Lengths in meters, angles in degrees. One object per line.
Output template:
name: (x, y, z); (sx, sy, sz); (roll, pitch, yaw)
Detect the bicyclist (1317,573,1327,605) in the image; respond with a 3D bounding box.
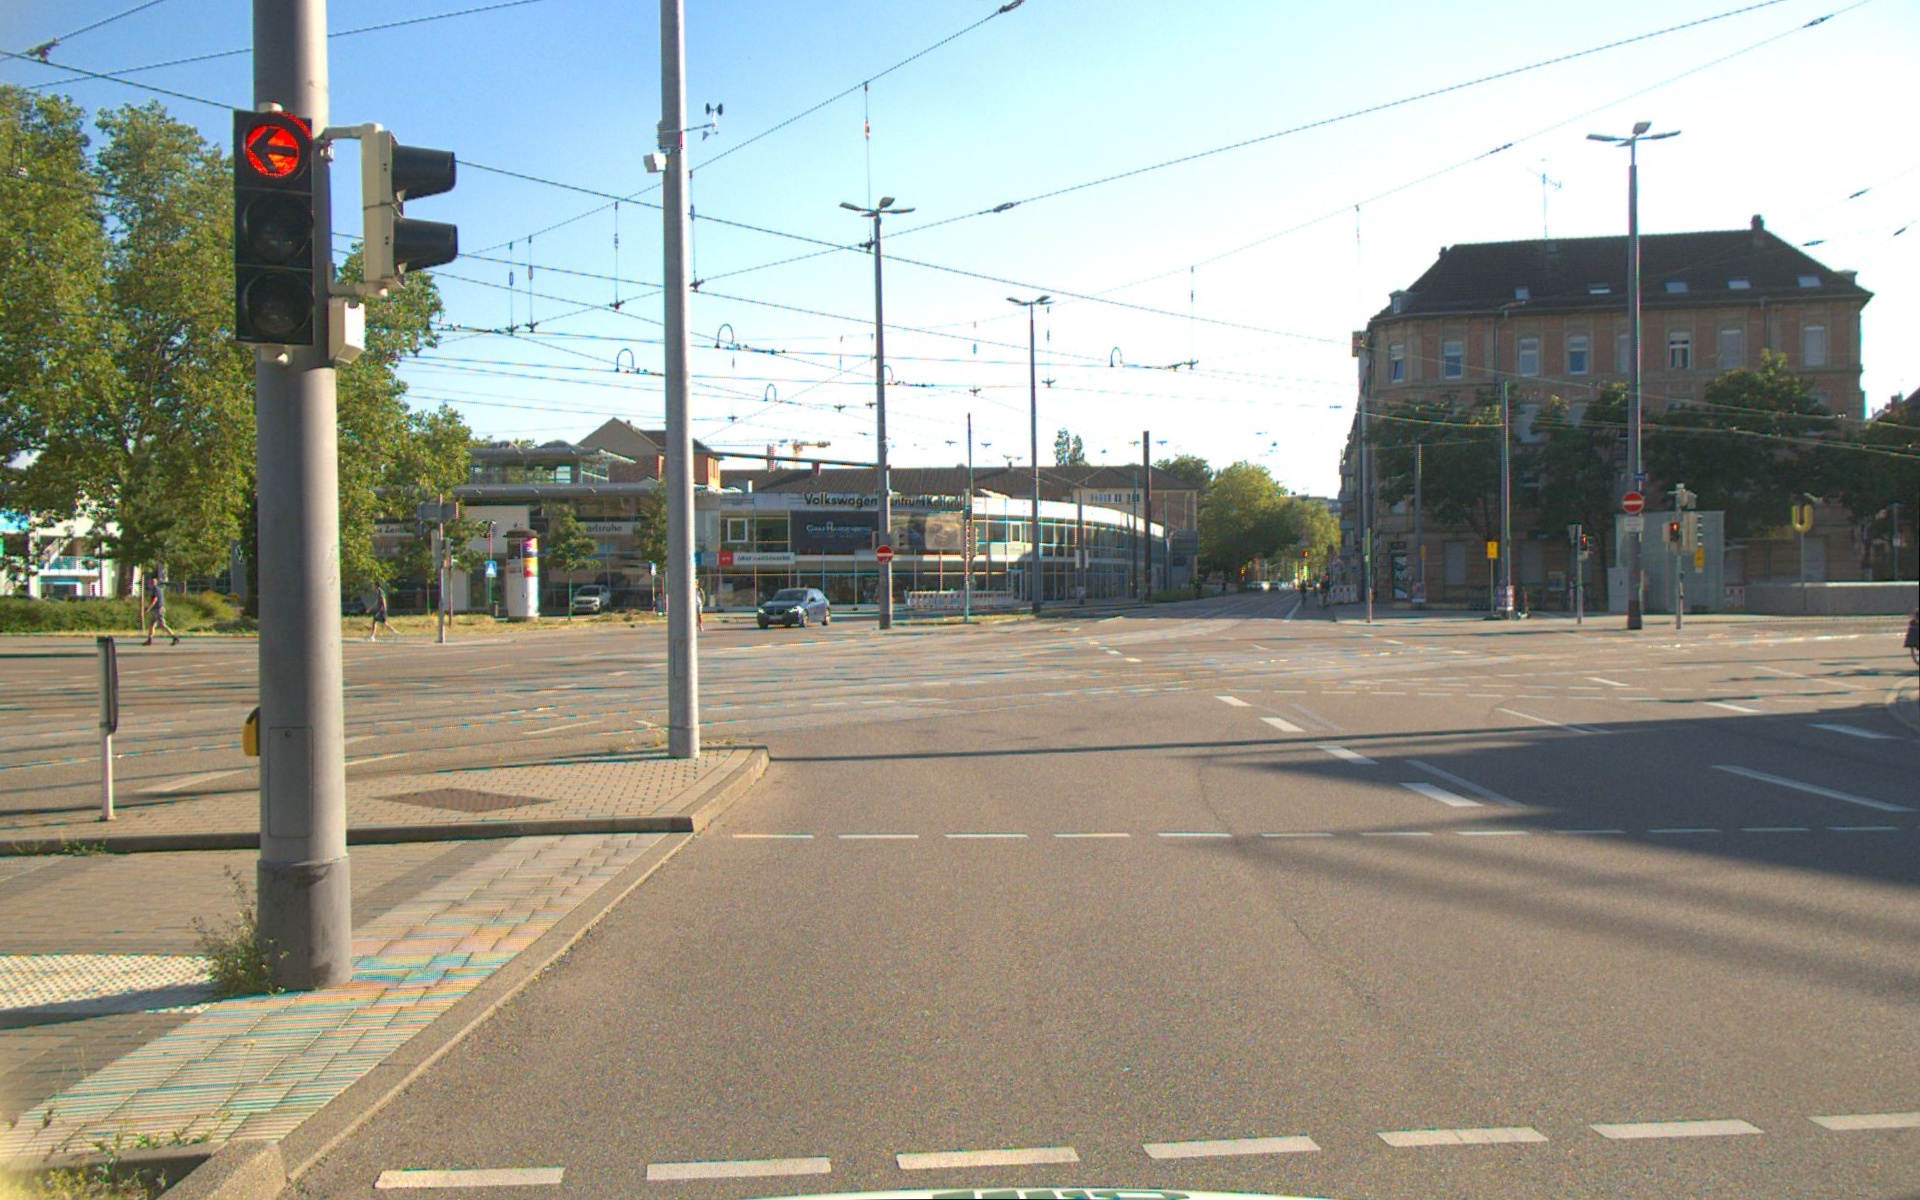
bicyclist: (20.249, -0.611, 92.469); (0.507, 1.730, 0.516); (1, -1, 12)

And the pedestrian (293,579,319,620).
pedestrian: (-27.300, -0.017, 69.049); (0.839, 1.723, 0.496); (1, -1, -3)

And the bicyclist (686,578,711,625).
bicyclist: (-9.446, 0.054, 59.759); (0.585, 1.643, 0.823); (1, 2, 17)

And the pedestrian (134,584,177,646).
pedestrian: (-22.825, 0.428, 46.936); (0.777, 1.736, 0.759); (1, -1, 6)

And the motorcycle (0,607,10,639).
motorcycle: (-28.923, 0.668, 48.510); (1.748, 0.930, 0.675); (1, 0, -21)

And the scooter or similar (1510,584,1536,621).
scooter or similar: (21.577, 0.095, 63.423); (0.769, 1.400, 1.910); (1, 0, 13)

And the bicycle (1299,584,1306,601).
bicycle: (20.356, -0.457, 98.344); (0.401, 0.958, 1.847); (1, 0, 12)

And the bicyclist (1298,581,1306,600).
bicyclist: (20.323, -0.560, 98.282); (0.399, 1.136, 0.399); (1, -1, 11)

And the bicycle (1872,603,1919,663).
bicycle: (17.646, 0.615, 30.069); (0.524, 1.067, 2.316); (1, 1, -9)

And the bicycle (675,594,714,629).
bicycle: (-9.538, 0.411, 59.480); (0.599, 1.210, 1.870); (1, 0, 17)

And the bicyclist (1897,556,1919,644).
bicyclist: (17.645, 0.007, 30.138); (0.505, 1.584, 0.945); (1, 0, -9)

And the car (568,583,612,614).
car: (-22.106, -0.076, 99.033); (1.954, 1.780, 3.997); (1, 0, -4)

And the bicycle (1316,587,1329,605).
bicycle: (20.248, -0.238, 92.390); (0.643, 0.969, 1.601); (1, 0, 14)

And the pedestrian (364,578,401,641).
pedestrian: (-17.855, 0.289, 51.152); (0.777, 1.919, 0.759); (1, -1, 6)

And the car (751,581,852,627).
car: (-5.851, 0.166, 61.558); (1.954, 1.613, 3.996); (1, 0, 26)
